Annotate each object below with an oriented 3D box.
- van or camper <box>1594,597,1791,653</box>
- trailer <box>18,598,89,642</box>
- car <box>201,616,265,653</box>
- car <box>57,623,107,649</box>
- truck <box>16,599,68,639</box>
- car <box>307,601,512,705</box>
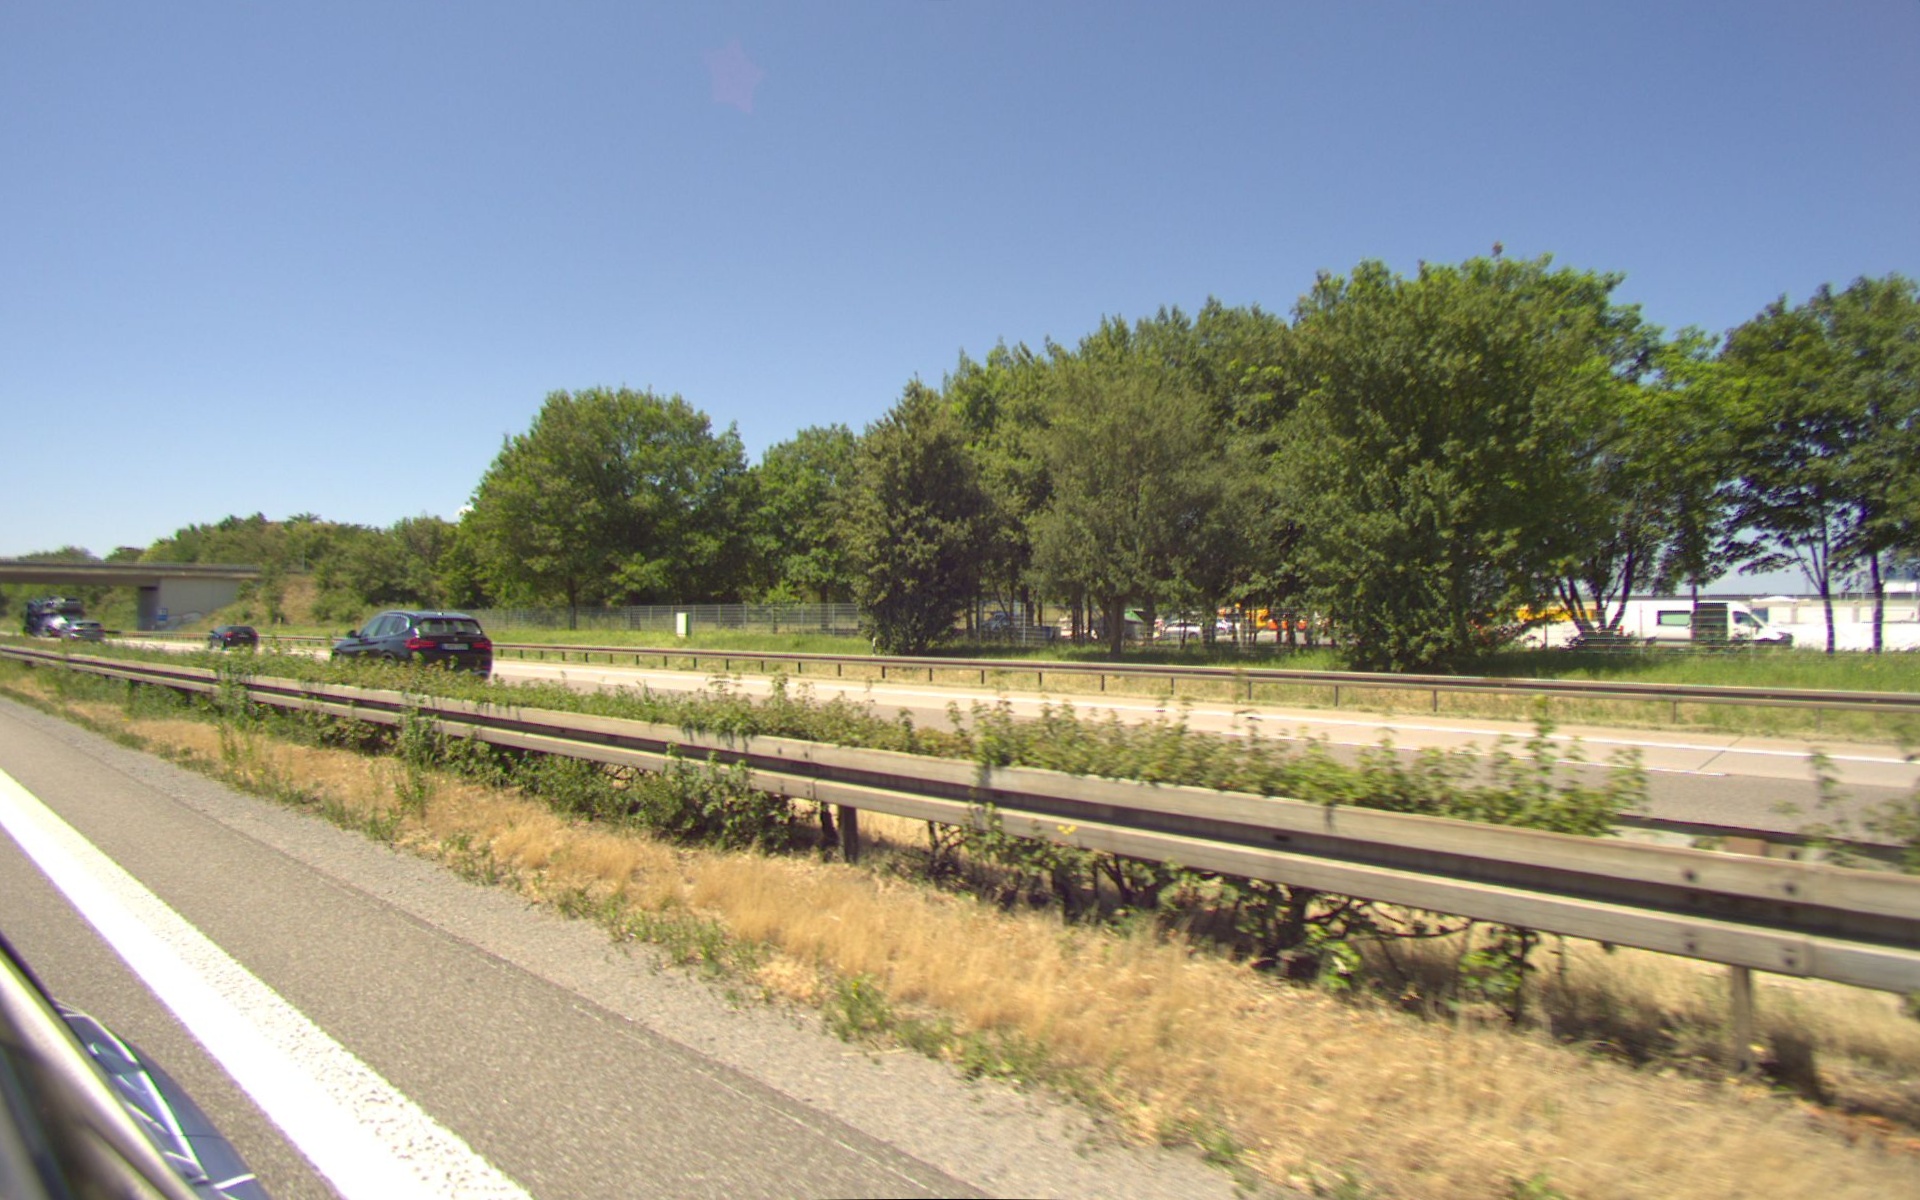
[{"bbox_3d":[35.884,1.227,49.820,7.718,2.571,2.333,-1,-2,40],"label":"van or camper"},{"bbox_3d":[-91.900,2.078,102.412,17.461,4.009,2.849,-1,-4,40],"label":"trailer"},{"bbox_3d":[-42.083,2.000,58.520,4.269,2.029,1.973,-1,-4,41],"label":"car"},{"bbox_3d":[-56.989,2.306,65.652,4.208,1.590,1.774,-1,-2,40],"label":"car"},{"bbox_3d":[-96.746,2.079,106.618,7.367,4.006,2.849,-1,-4,40],"label":"truck"},{"bbox_3d":[-11.809,1.028,21.499,5.645,1.900,1.973,-1,1,41],"label":"car"}]
